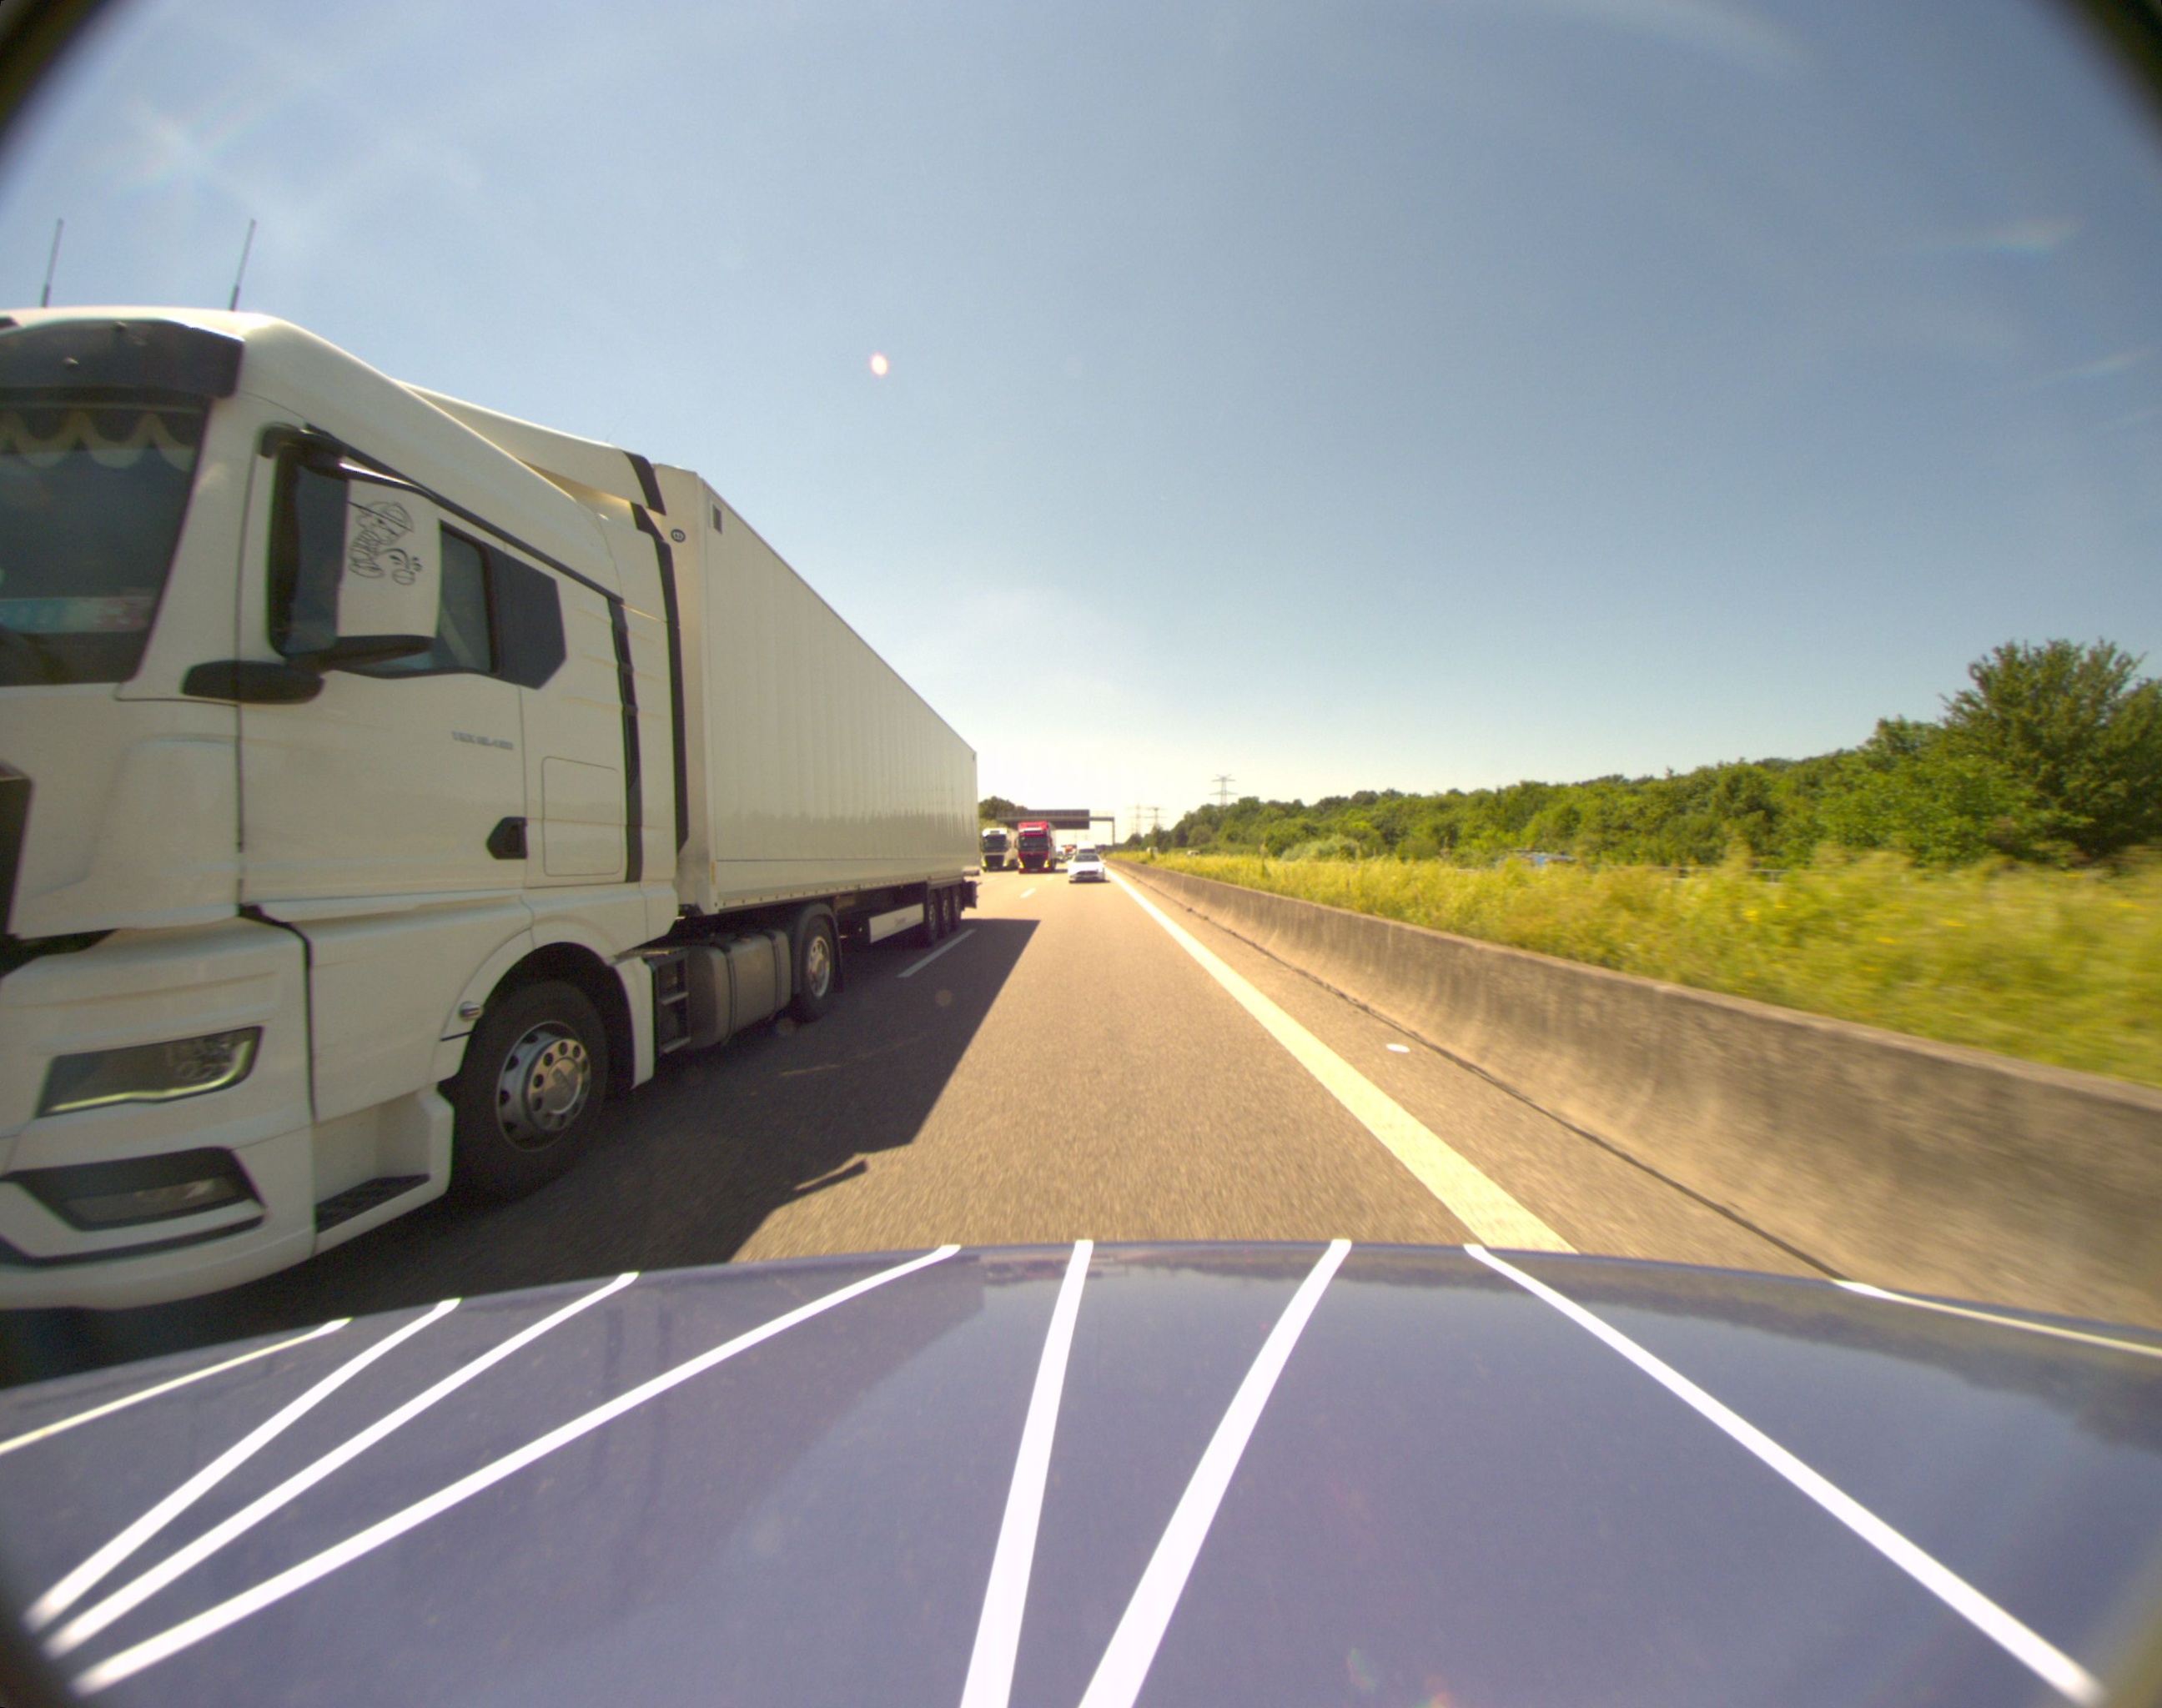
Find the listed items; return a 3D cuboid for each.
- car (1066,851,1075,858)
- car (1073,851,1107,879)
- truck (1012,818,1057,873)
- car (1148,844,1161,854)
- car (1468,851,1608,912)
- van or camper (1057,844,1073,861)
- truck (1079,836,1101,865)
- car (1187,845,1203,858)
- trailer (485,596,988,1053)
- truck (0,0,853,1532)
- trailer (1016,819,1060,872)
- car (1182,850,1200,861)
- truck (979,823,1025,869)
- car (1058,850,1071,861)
[{"bbox_3d":[-2.378,0.075,172.918,1.904,1.662,4.000,-1,0,0],"label":"car"},{"bbox_3d":[0.451,0.575,42.690,1.788,1.462,3.999,-1,1,0],"label":"car"},{"bbox_3d":[-3.482,-0.631,58.204,2.948,3.963,6.100,-2,1,-1],"label":"truck"},{"bbox_3d":[15.067,-1.006,155.358,1.998,2.002,6.556,-3,0,0],"label":"car"},{"bbox_3d":[14.000,0.773,23.588,1.828,1.643,4.170,1,1,1],"label":"car"},{"bbox_3d":[-2.476,-0.246,120.664,2.411,2.483,6.431,-1,0,0],"label":"van or camper"},{"bbox_3d":[0.883,-0.375,79.441,2.192,2.841,5.503,-1,0,0],"label":"truck"},{"bbox_3d":[18.628,-0.397,124.472,1.886,2.002,5.075,-1,0,0],"label":"car"},{"bbox_3d":[-3.836,-0.279,13.069,2.802,4.012,12.566,-1,0,0],"label":"trailer"},{"bbox_3d":[-3.839,-0.267,4.896,2.807,3.984,6.020,-1,0,0],"label":"truck"},{"bbox_3d":[-3.548,-0.702,67.100,2.945,3.994,16.197,-2,0,-1],"label":"trailer"},{"bbox_3d":[14.266,0.193,98.858,1.673,1.455,4.259,2,0,1],"label":"car"},{"bbox_3d":[-7.500,-0.787,73.919,3.033,4.069,10.976,-2,0,1],"label":"truck"},{"bbox_3d":[-2.503,0.237,115.377,1.788,1.520,4.104,-1,0,0],"label":"car"}]
